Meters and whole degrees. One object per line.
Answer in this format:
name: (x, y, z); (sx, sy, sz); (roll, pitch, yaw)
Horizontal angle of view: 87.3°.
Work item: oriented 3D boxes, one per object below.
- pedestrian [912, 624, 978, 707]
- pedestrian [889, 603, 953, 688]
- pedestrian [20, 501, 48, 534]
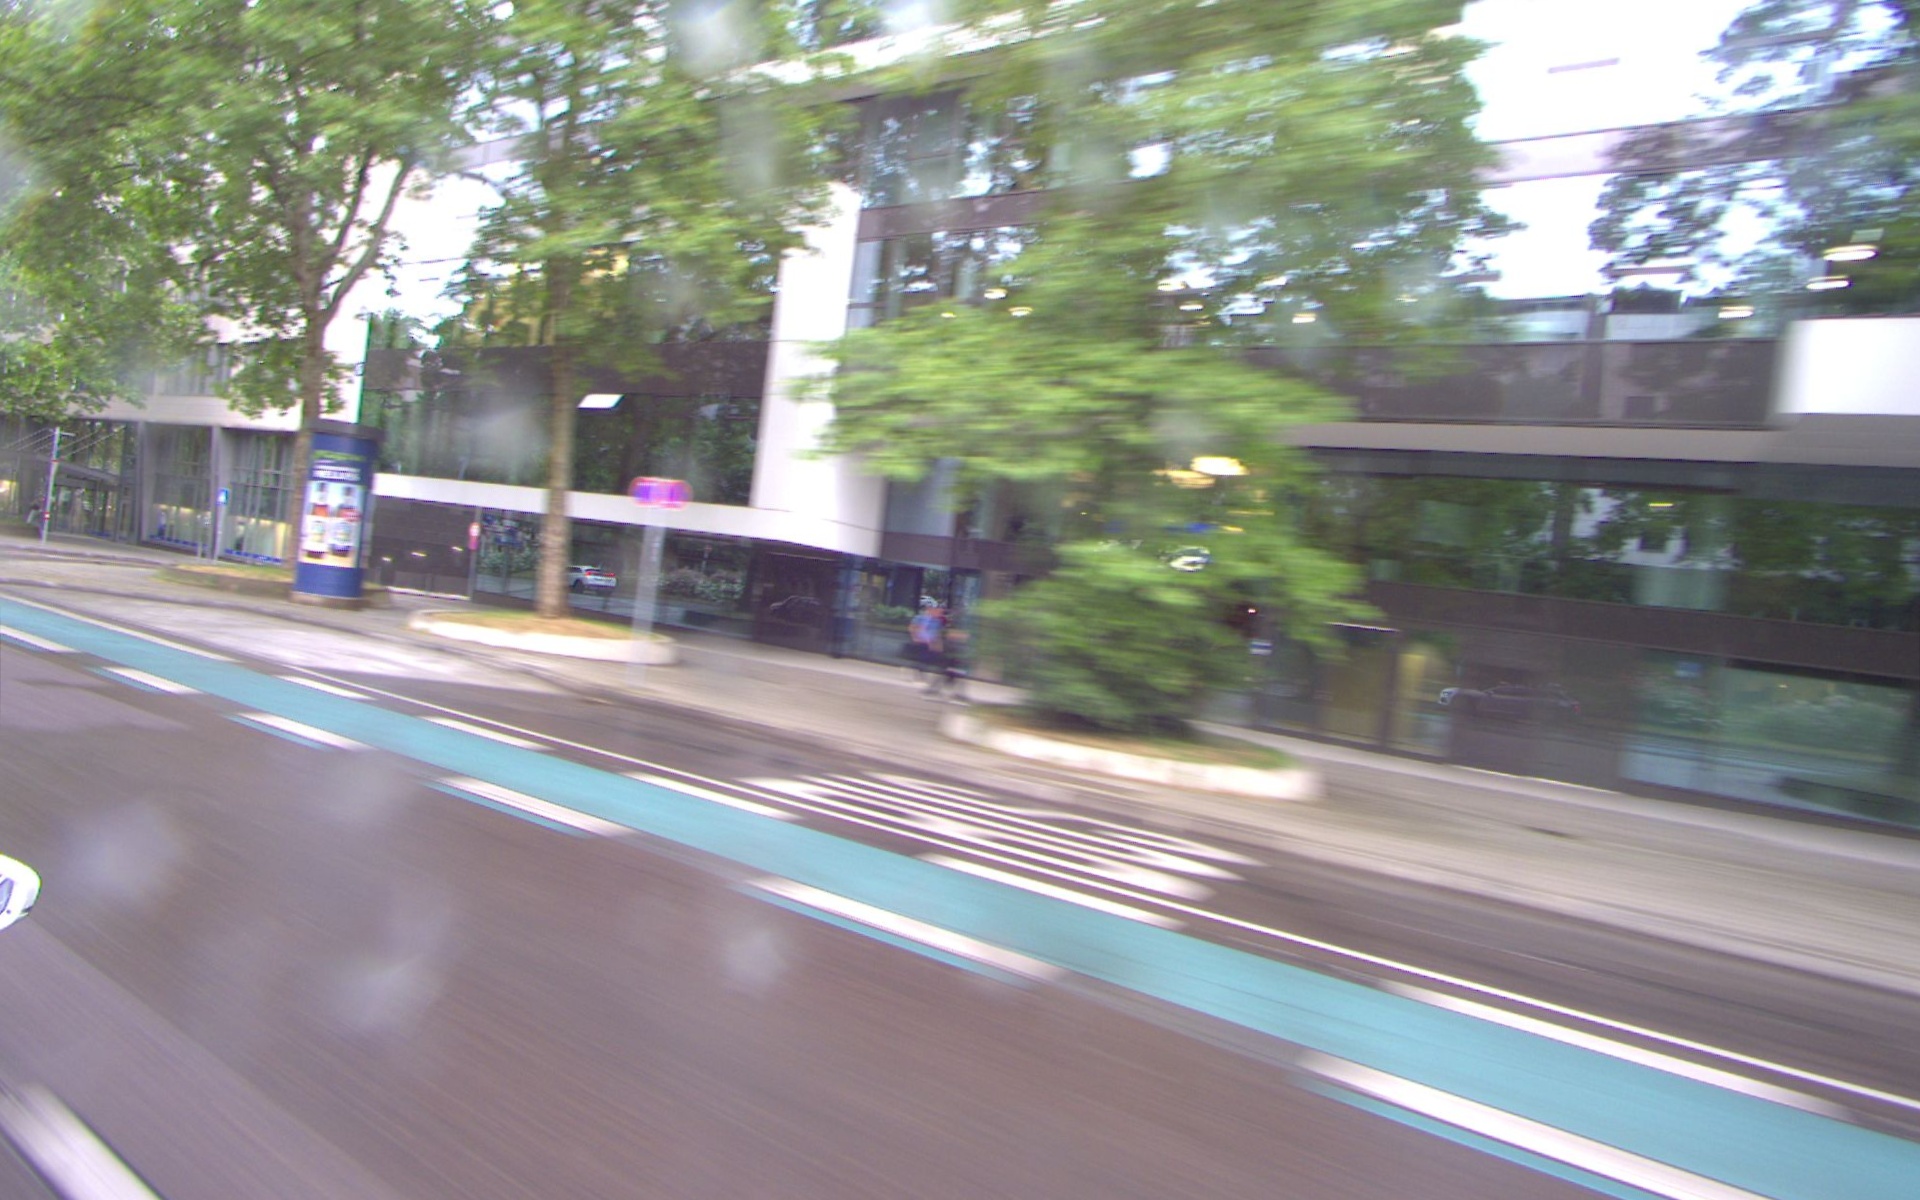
pedestrian: (-0.298, 1.298, 20.015); (0.989, 1.524, 0.587); (7, 1, 32)
pedestrian: (-0.904, 1.045, 23.377); (1.070, 1.817, 0.786); (8, 3, 36)
pedestrian: (-52.086, -4.640, 56.587); (0.718, 1.714, 0.825); (7, 1, -16)
